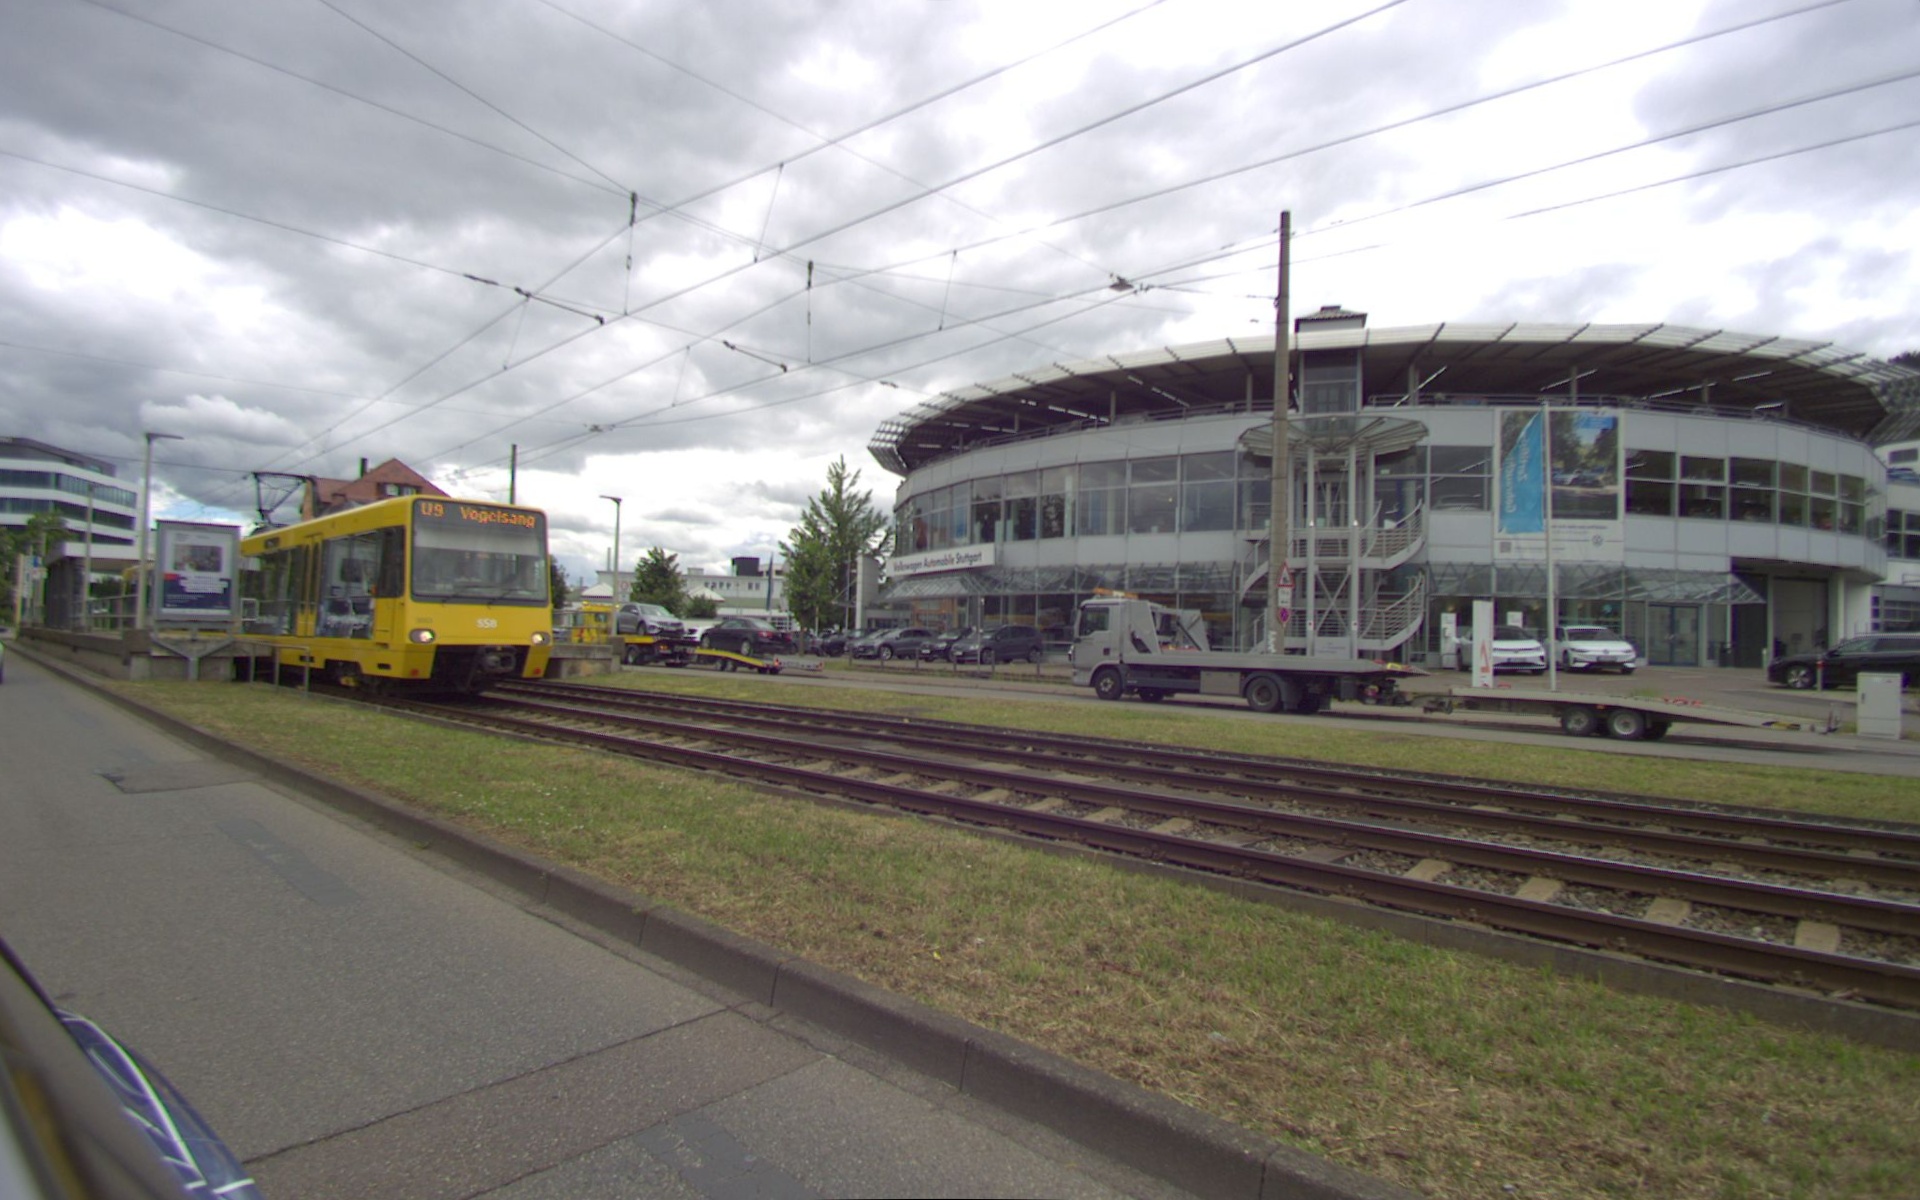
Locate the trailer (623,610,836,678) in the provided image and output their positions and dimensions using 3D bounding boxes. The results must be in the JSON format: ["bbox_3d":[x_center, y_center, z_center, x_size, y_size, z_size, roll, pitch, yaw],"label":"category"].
[{"bbox_3d":[-9.176,1.600,39.250,10.021,2.338,2.824,-1,-2,42],"label":"trailer"}]

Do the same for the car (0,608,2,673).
[{"bbox_3d":[-22.886,0.945,22.715,1.888,1.581,4.118,2,-2,-42],"label":"car"}]

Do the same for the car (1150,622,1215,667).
[{"bbox_3d":[8.147,1.592,36.794,1.783,1.497,3.972,0,-2,21],"label":"car"}]

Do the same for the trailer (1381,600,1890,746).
[{"bbox_3d":[11.696,1.234,18.195,7.320,2.144,2.266,-2,-6,44],"label":"trailer"}]

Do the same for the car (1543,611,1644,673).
[{"bbox_3d":[20.783,1.317,33.378,1.986,1.785,3.972,4,0,21],"label":"car"}]

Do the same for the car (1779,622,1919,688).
[{"bbox_3d":[23.556,1.354,25.408,1.839,1.586,4.288,2,-2,-24],"label":"car"}]

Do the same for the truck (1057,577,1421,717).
[{"bbox_3d":[6.175,1.036,23.599,8.025,2.760,2.259,-1,-5,44],"label":"truck"}]

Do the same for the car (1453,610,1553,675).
[{"bbox_3d":[17.658,1.317,33.096,1.983,1.785,3.978,5,1,17],"label":"car"}]

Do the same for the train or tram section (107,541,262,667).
[{"bbox_3d":[-28.762,0.322,37.227,11.915,3.997,2.710,-2,-4,44],"label":"train or tram section"}]

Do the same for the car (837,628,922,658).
[{"bbox_3d":[-4.098,2.201,51.754,3.930,1.497,1.802,2,-2,-25],"label":"car"}]

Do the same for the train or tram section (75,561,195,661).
[{"bbox_3d":[-37.325,0.641,45.569,11.915,3.997,2.710,-2,-4,44],"label":"train or tram section"}]

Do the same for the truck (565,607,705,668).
[{"bbox_3d":[-14.115,1.582,43.722,6.452,2.415,2.798,-1,-2,41],"label":"truck"}]

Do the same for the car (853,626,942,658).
[{"bbox_3d":[-3.043,2.046,49.190,3.930,1.497,1.802,2,-2,-25],"label":"car"}]

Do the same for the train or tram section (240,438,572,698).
[{"bbox_3d":[-11.635,-0.324,20.546,10.199,4.096,2.938,-2,-4,44],"label":"train or tram section"}]

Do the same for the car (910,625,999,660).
[{"bbox_3d":[-0.200,1.886,45.232,1.796,1.497,3.943,-1,-2,42],"label":"car"}]

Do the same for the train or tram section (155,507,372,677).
[{"bbox_3d":[-20.202,0.026,28.883,11.915,3.997,2.710,-2,-4,44],"label":"train or tram section"}]

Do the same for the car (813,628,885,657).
[{"bbox_3d":[-6.213,2.382,56.842,3.939,1.497,1.798,1,-2,-5],"label":"car"}]

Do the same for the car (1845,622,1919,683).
[{"bbox_3d":[26.221,1.392,26.438,1.839,1.586,4.288,2,-2,-24],"label":"car"}]

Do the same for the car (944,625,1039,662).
[{"bbox_3d":[1.373,1.816,42.625,3.940,1.497,1.797,2,-2,-44],"label":"car"}]

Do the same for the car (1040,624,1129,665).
[{"bbox_3d":[4.868,1.689,39.126,1.791,1.497,3.953,0,-2,34],"label":"car"}]
